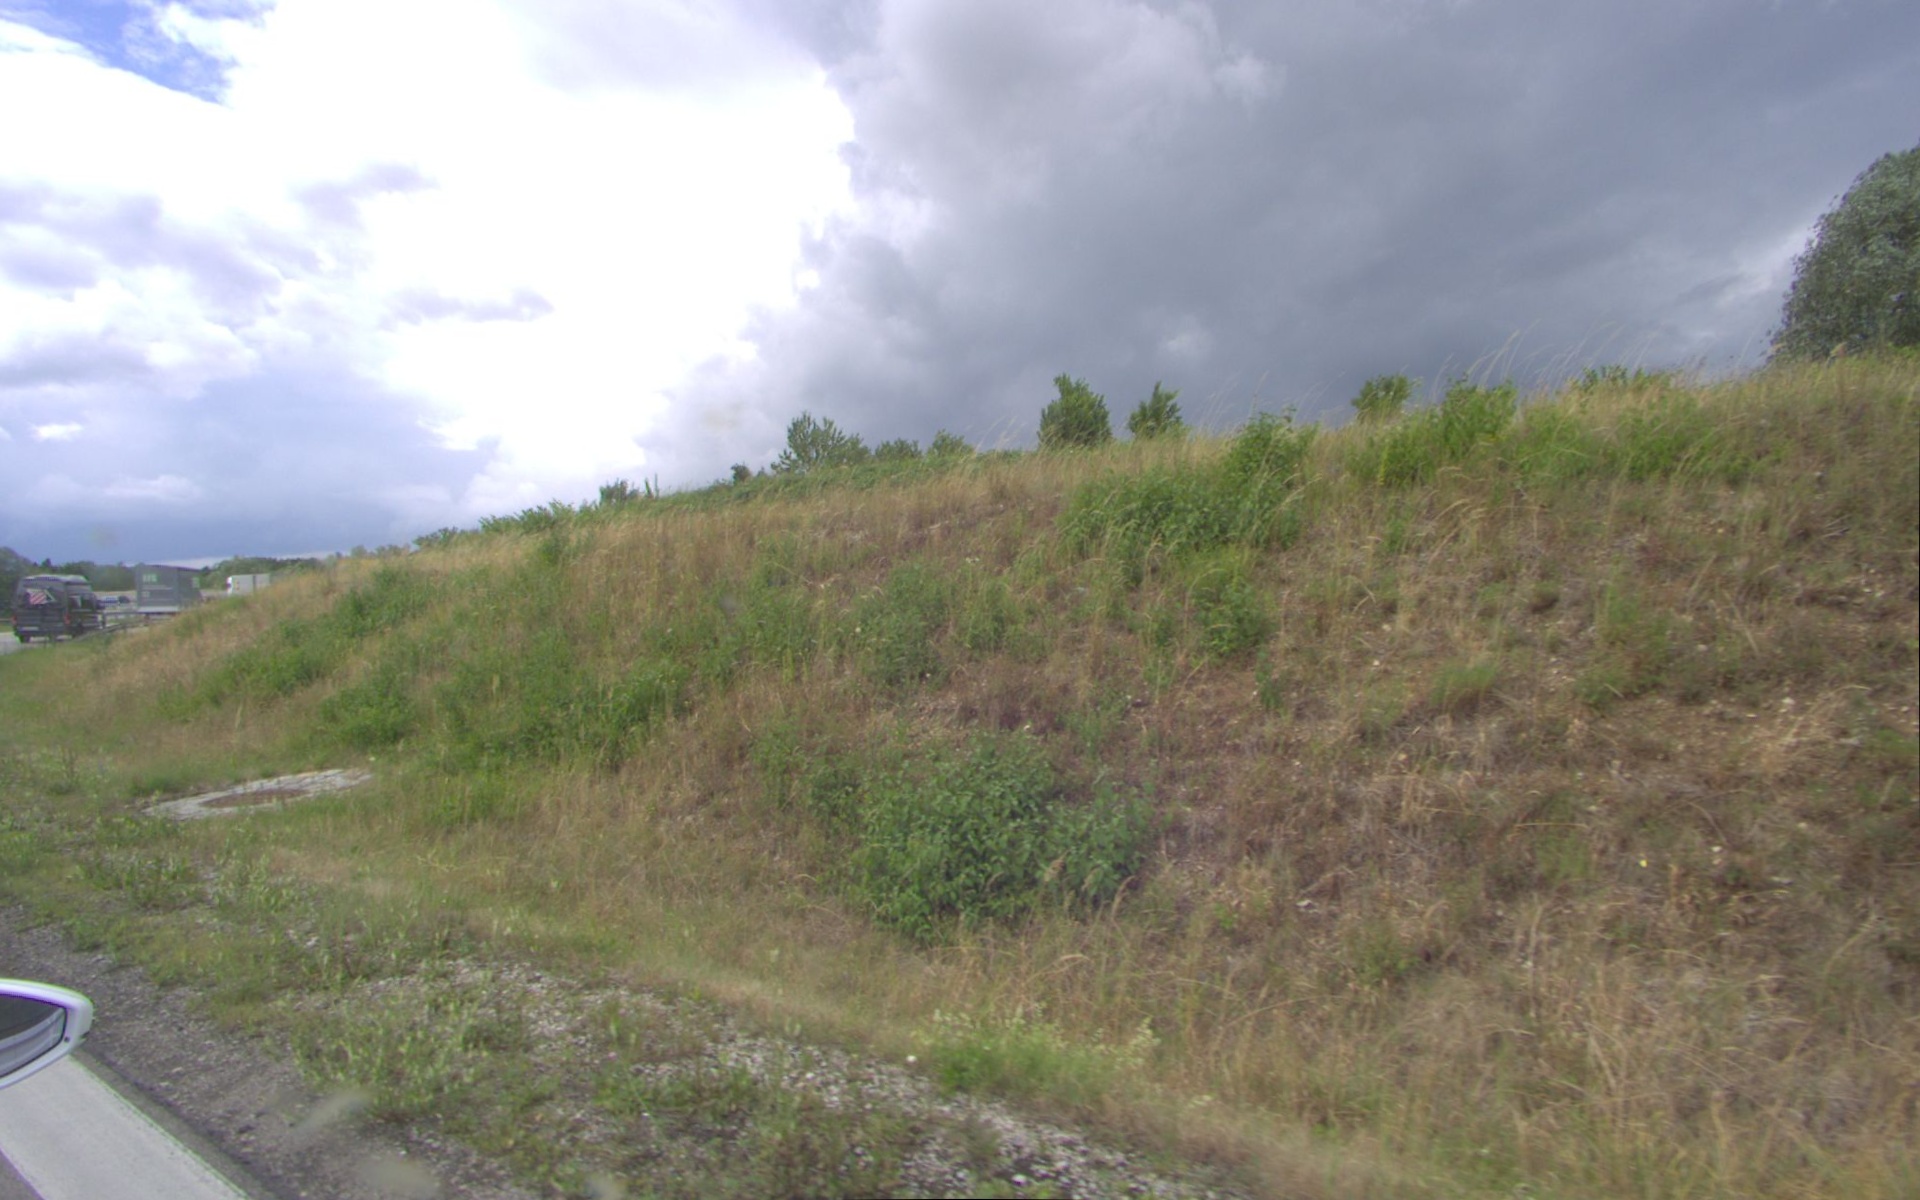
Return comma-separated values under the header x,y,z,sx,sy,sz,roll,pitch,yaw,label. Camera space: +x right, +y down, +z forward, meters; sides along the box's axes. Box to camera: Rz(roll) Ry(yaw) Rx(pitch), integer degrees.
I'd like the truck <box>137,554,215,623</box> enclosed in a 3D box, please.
x,y,z,sx,sy,sz,roll,pitch,yaw,label
-49.568,-0.625,63.488,2.198,3.955,6.003,0,-2,-21,truck

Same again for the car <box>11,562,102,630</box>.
x,y,z,sx,sy,sz,roll,pitch,yaw,label
-39.951,-0.107,44.383,2.081,2.832,3.982,1,-2,-29,car
